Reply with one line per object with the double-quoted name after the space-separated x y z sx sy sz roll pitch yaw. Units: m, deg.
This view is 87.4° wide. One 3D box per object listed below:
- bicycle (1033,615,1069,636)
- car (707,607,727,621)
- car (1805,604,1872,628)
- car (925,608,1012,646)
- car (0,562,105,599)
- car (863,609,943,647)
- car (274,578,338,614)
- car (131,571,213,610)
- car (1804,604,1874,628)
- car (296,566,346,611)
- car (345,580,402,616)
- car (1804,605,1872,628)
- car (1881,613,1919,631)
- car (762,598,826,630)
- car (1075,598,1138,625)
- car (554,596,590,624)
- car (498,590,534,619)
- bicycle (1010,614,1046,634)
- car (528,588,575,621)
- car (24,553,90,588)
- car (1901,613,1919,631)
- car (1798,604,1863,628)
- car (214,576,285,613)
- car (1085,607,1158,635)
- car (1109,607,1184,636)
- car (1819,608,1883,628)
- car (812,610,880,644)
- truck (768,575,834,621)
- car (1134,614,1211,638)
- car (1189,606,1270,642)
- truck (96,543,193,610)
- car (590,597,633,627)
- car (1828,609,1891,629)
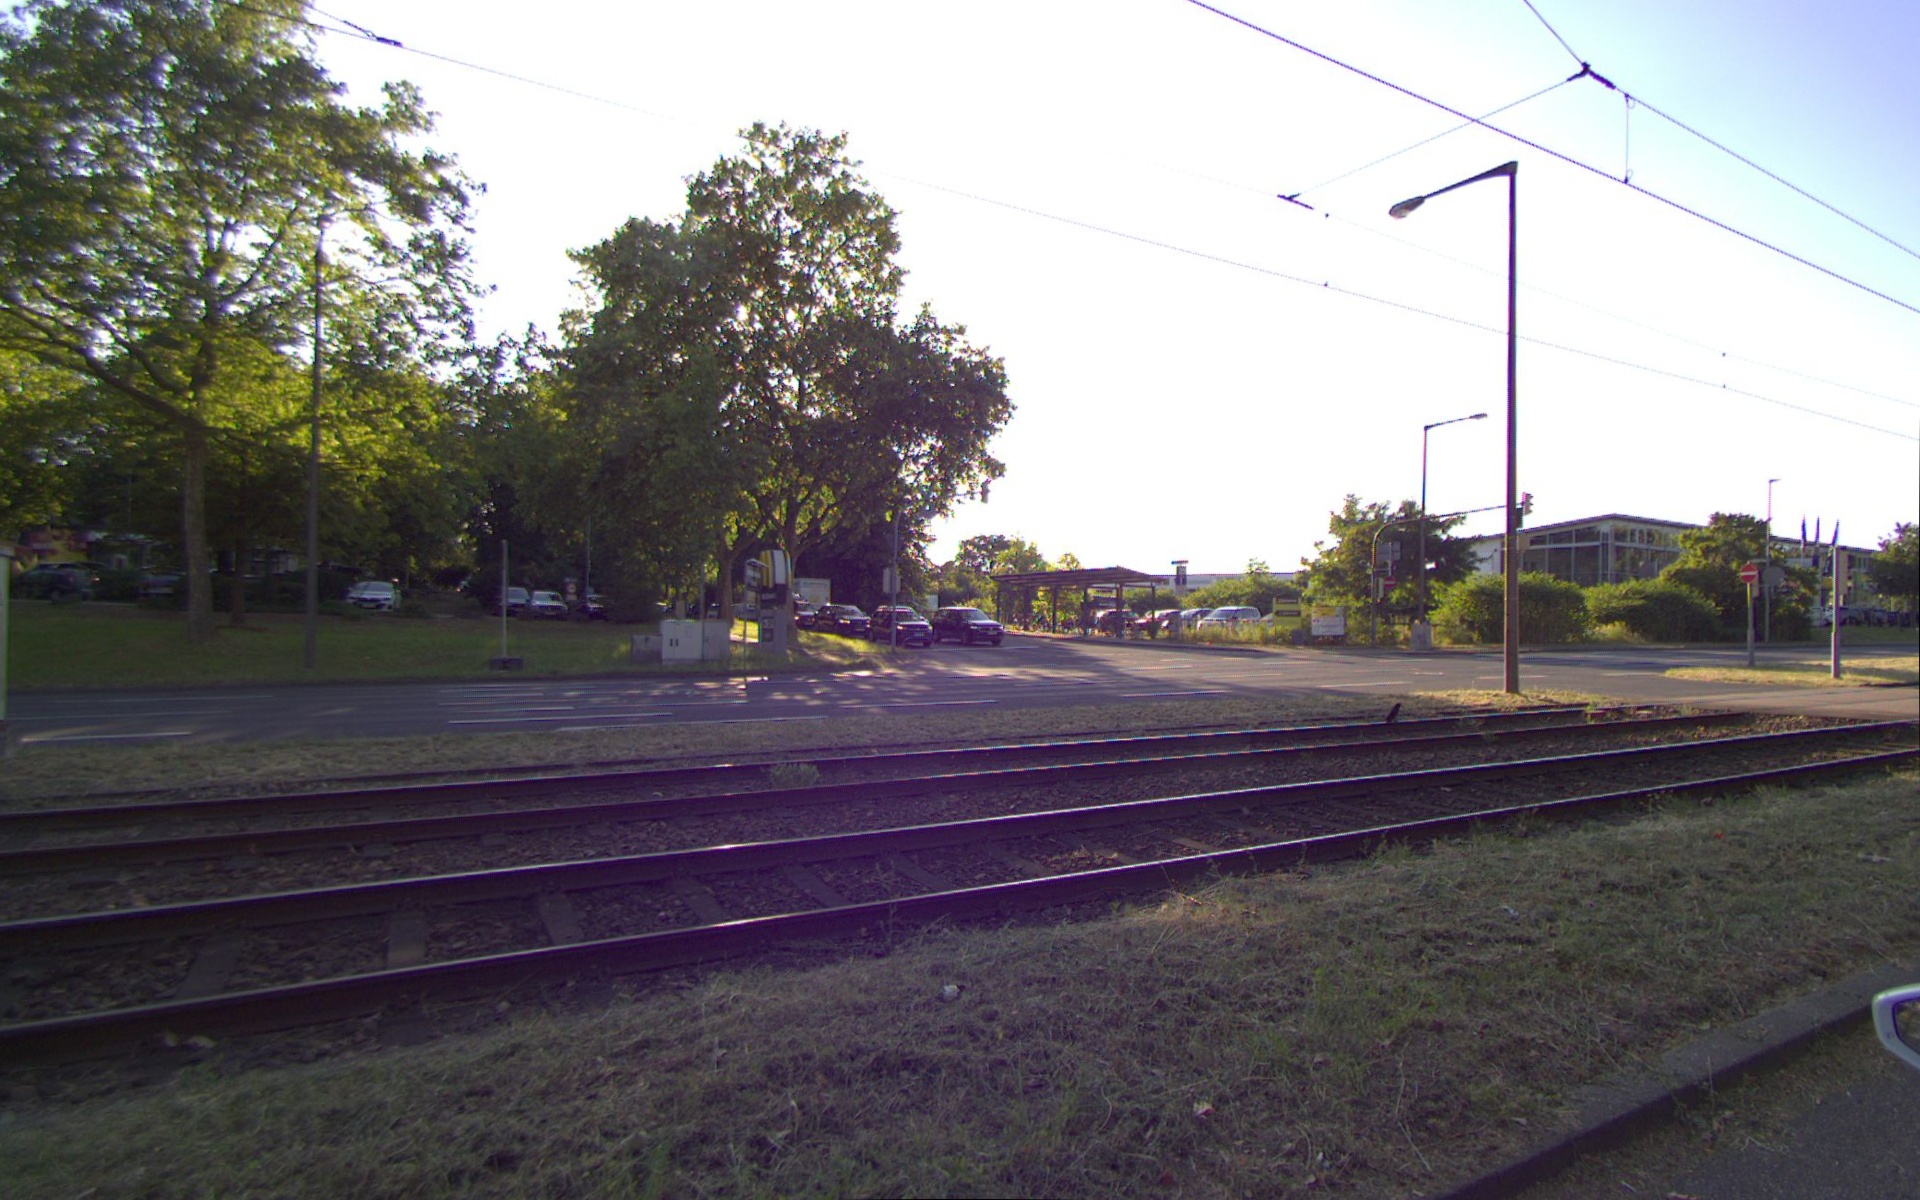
5.250 1.479 57.822 2.005 1.119 0.777 2 0 -31 "bicycle"
-30.762 1.742 126.879 1.887 1.602 4.036 2 0 -22 "car"
70.469 1.265 80.619 3.939 1.840 1.735 1 0 40 "car"
0.342 1.193 45.700 1.858 1.656 4.329 1 -1 -33 "car"
-41.290 -0.854 45.409 3.678 1.482 1.662 3 -1 -28 "car"
-2.530 1.227 43.712 1.739 1.578 3.936 1 -2 -33 "car"
-29.900 -0.188 46.041 1.916 1.530 4.071 2 0 -26 "car"
-33.865 -0.409 43.292 1.916 1.530 4.071 2 0 -26 "car"
67.297 1.230 76.996 3.939 1.727 1.735 1 0 40 "car"
-35.115 -0.607 55.274 2.138 2.334 4.369 2 0 -31 "car"
-27.220 -0.097 46.733 1.916 1.530 4.071 2 0 -26 "car"
68.837 1.273 78.801 3.939 1.727 1.735 1 0 40 "car"
86.983 1.988 91.697 1.726 1.577 3.960 1 0 -35 "car"
-9.107 0.767 54.974 1.824 1.656 4.270 1 0 -34 "car"
11.398 0.906 78.094 4.715 2.041 1.853 1 0 -31 "car"
-23.981 0.608 62.023 1.836 1.637 4.035 2 0 -24 "car"
-26.404 0.238 59.792 1.836 1.637 4.035 2 0 -24 "car"
4.100 1.459 60.454 2.005 1.119 0.777 2 0 -31 "bicycle"
-20.736 0.208 50.906 1.916 1.530 4.071 2 0 -26 "car"
-51.690 -1.684 57.589 2.274 1.875 5.220 2 1 -36 "car"
90.448 2.086 93.449 1.725 1.642 3.962 1 0 -34 "car"
71.424 1.278 82.468 3.939 1.840 1.735 1 0 40 "car"
-31.738 -0.255 44.962 1.916 1.530 4.071 2 0 -26 "car"
9.884 1.277 61.419 4.123 1.604 1.968 1 0 -30 "car"
10.996 1.268 59.228 4.123 1.604 1.853 1 0 -30 "car"
74.085 1.508 83.593 3.939 1.577 1.735 1 0 40 "car"
-5.641 1.286 49.396 1.717 1.565 4.297 0 0 -31 "car"
-12.951 -0.161 81.133 2.782 3.520 8.291 0 0 -27 "truck"
12.122 1.469 57.301 4.123 1.284 1.853 1 0 -30 "car"
14.555 1.302 54.177 4.123 1.846 1.853 1 0 -30 "car"
-42.324 -1.172 52.305 2.468 3.209 6.187 2 0 -26 "truck"
-18.244 0.611 52.464 1.604 1.477 3.878 2 0 -27 "car"
76.300 1.595 85.268 3.939 1.577 1.735 1 0 40 "car"
